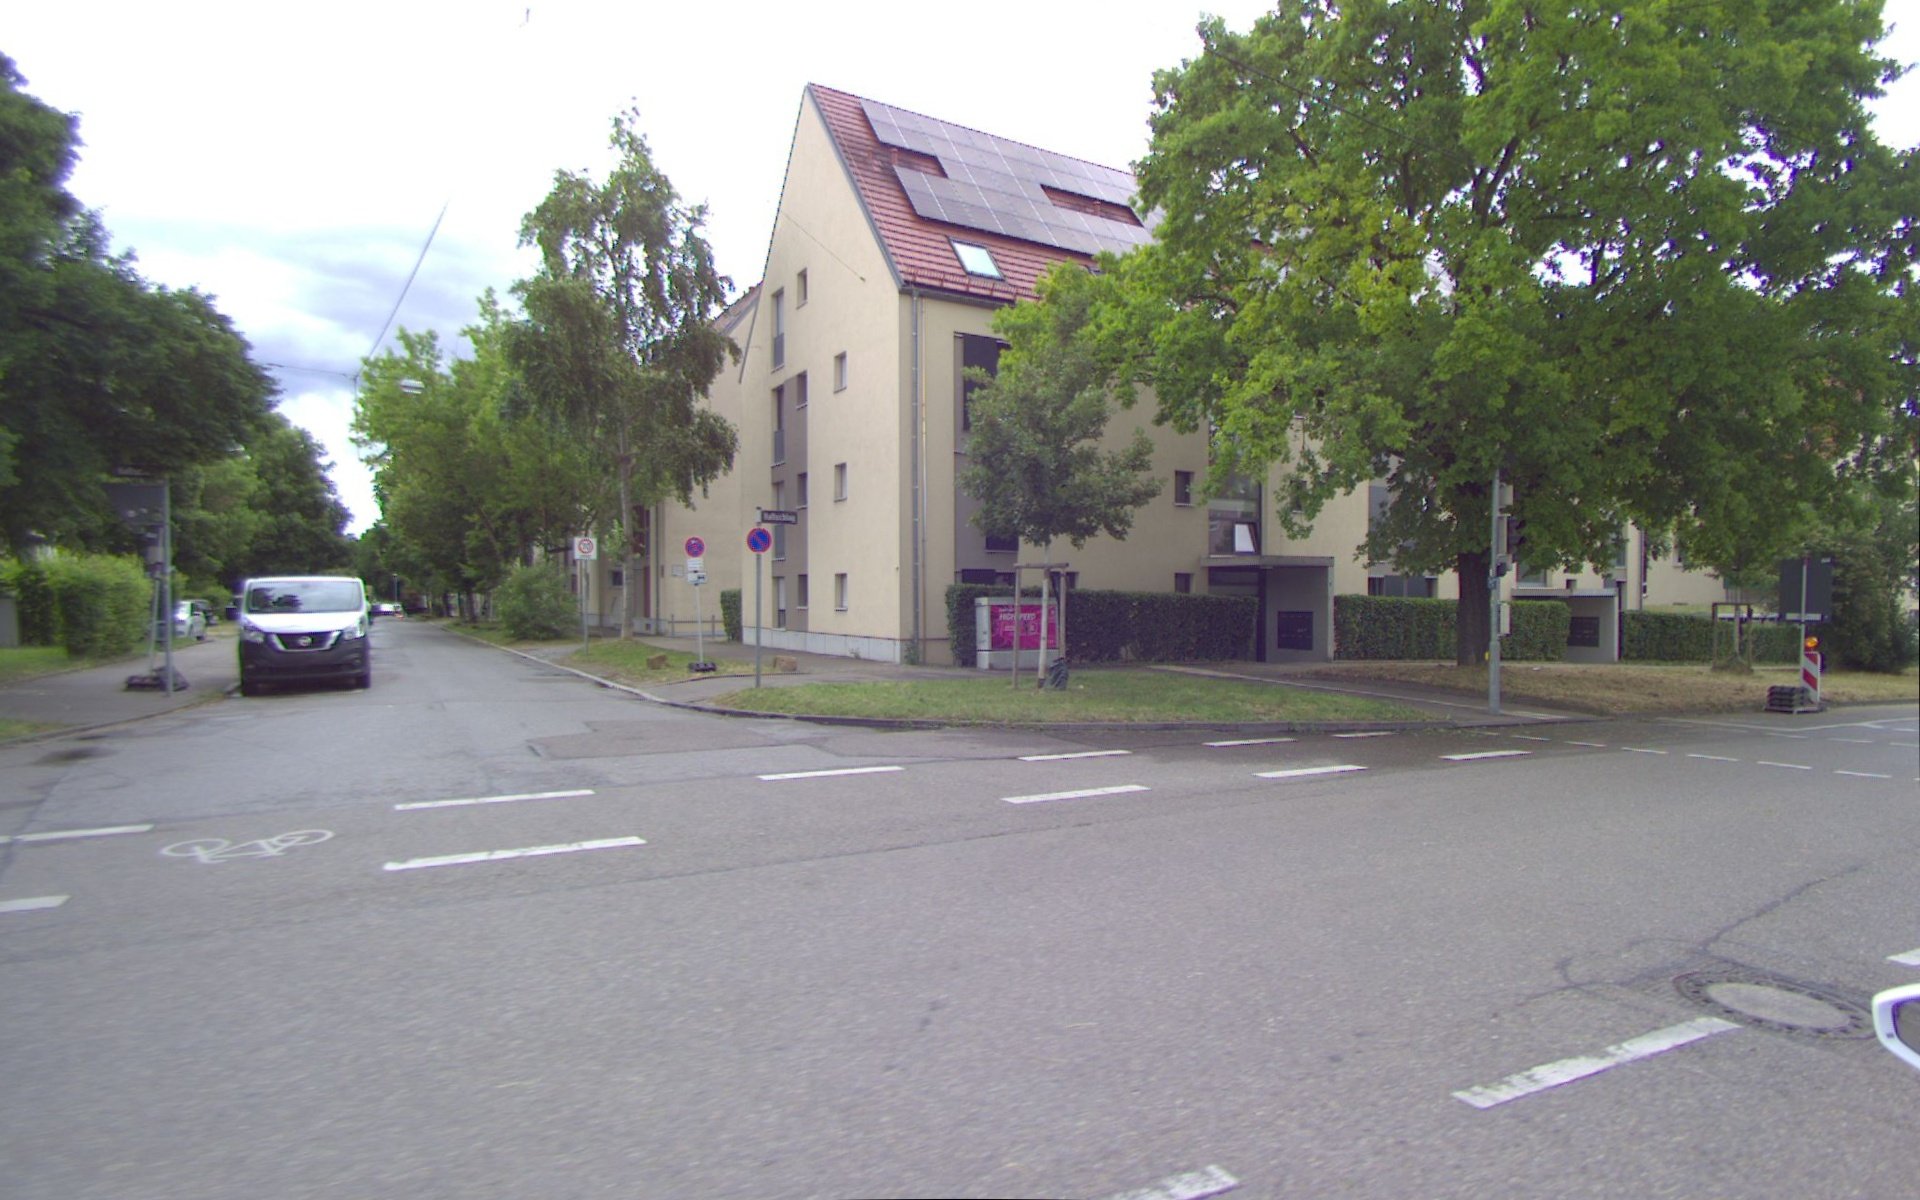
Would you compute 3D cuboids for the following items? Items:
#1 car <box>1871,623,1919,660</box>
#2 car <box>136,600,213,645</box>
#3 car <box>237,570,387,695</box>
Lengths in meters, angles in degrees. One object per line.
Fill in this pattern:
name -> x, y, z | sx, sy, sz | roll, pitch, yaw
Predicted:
car -> 60.900, 2.662, 63.363 | 1.972, 2.283, 4.695 | 2, -1, -30
car -> -26.835, 0.745, 34.404 | 1.567, 1.399, 3.422 | 2, 0, -30
car -> -11.643, 0.493, 18.320 | 1.977, 1.943, 5.114 | 2, 0, -30
